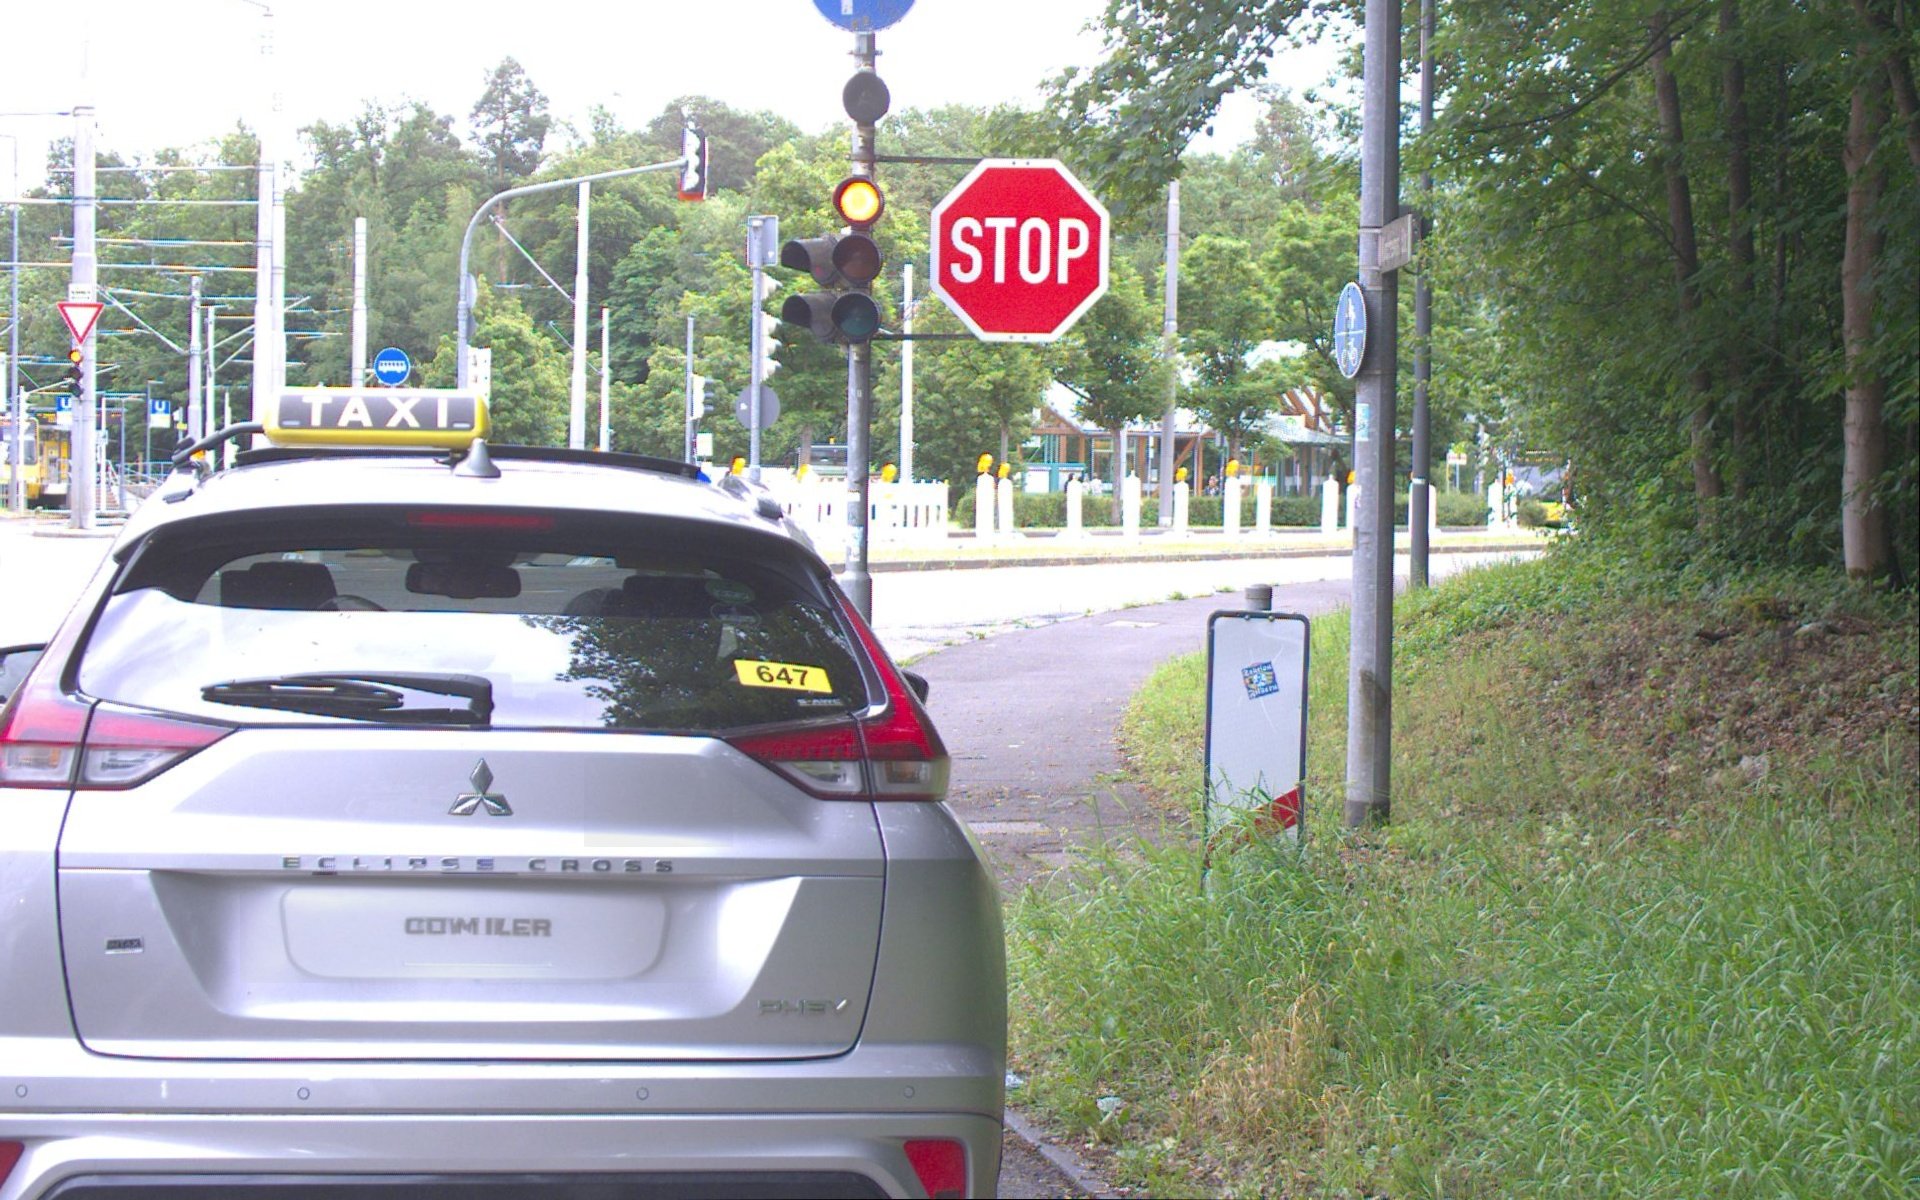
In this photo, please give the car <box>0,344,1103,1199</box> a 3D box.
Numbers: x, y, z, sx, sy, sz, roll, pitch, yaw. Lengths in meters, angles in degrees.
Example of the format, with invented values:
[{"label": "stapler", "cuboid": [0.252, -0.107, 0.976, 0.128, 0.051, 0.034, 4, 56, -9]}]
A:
[{"label": "car", "cuboid": [-0.990, 0.469, 6.827, 1.773, 1.742, 3.782, 2, 2, -9]}]
